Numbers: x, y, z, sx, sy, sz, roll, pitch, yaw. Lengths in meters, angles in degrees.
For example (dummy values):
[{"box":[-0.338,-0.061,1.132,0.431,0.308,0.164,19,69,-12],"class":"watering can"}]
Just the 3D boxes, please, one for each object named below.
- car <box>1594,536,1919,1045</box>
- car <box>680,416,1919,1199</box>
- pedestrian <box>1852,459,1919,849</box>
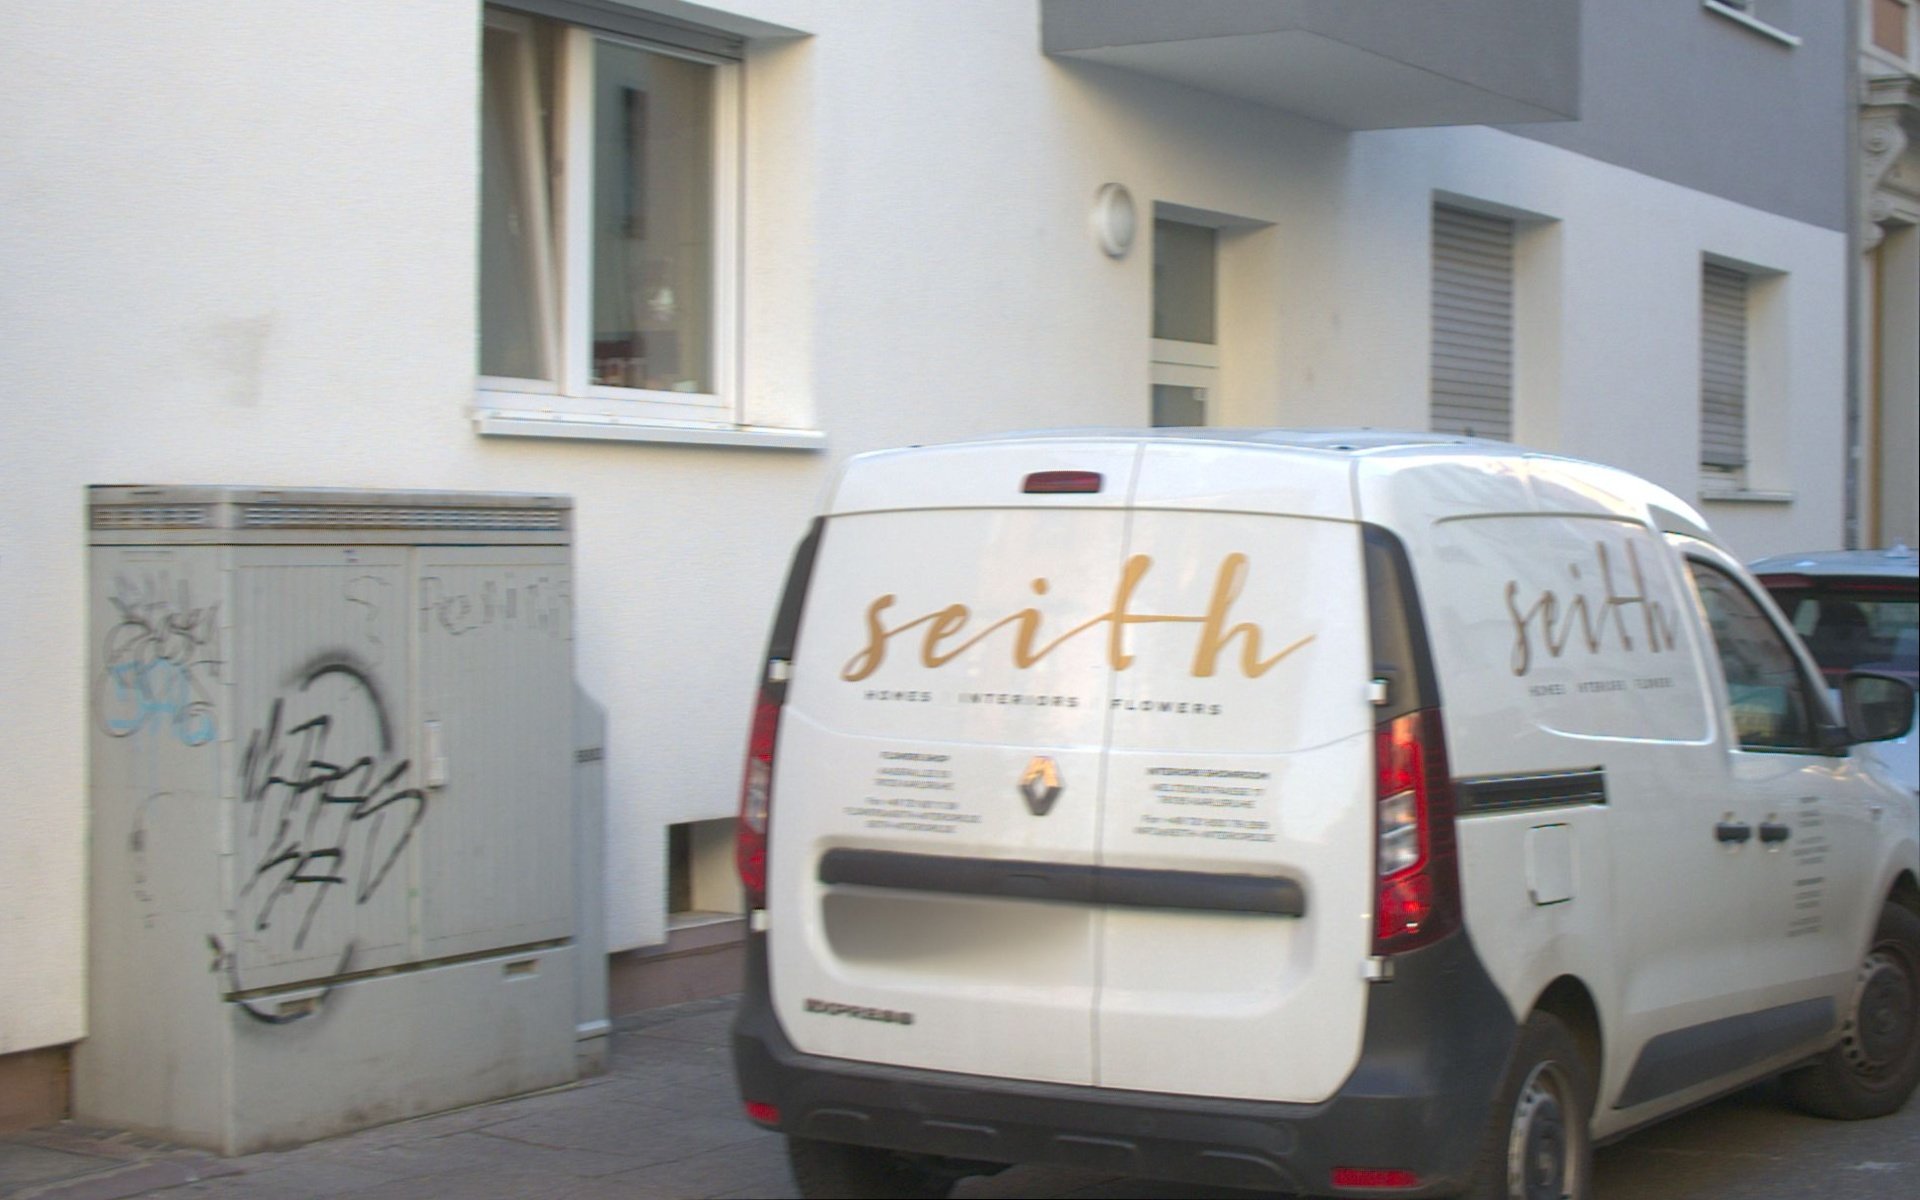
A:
[{"box":[3.855,0.571,12.973,1.766,1.558,4.360,0,2,26],"class":"car"},{"box":[1.168,0.518,8.452,1.633,1.807,4.178,1,1,30],"class":"car"},{"box":[5.134,0.275,18.015,0.798,2.007,0.775,1,0,21],"class":"pedestrian"}]
